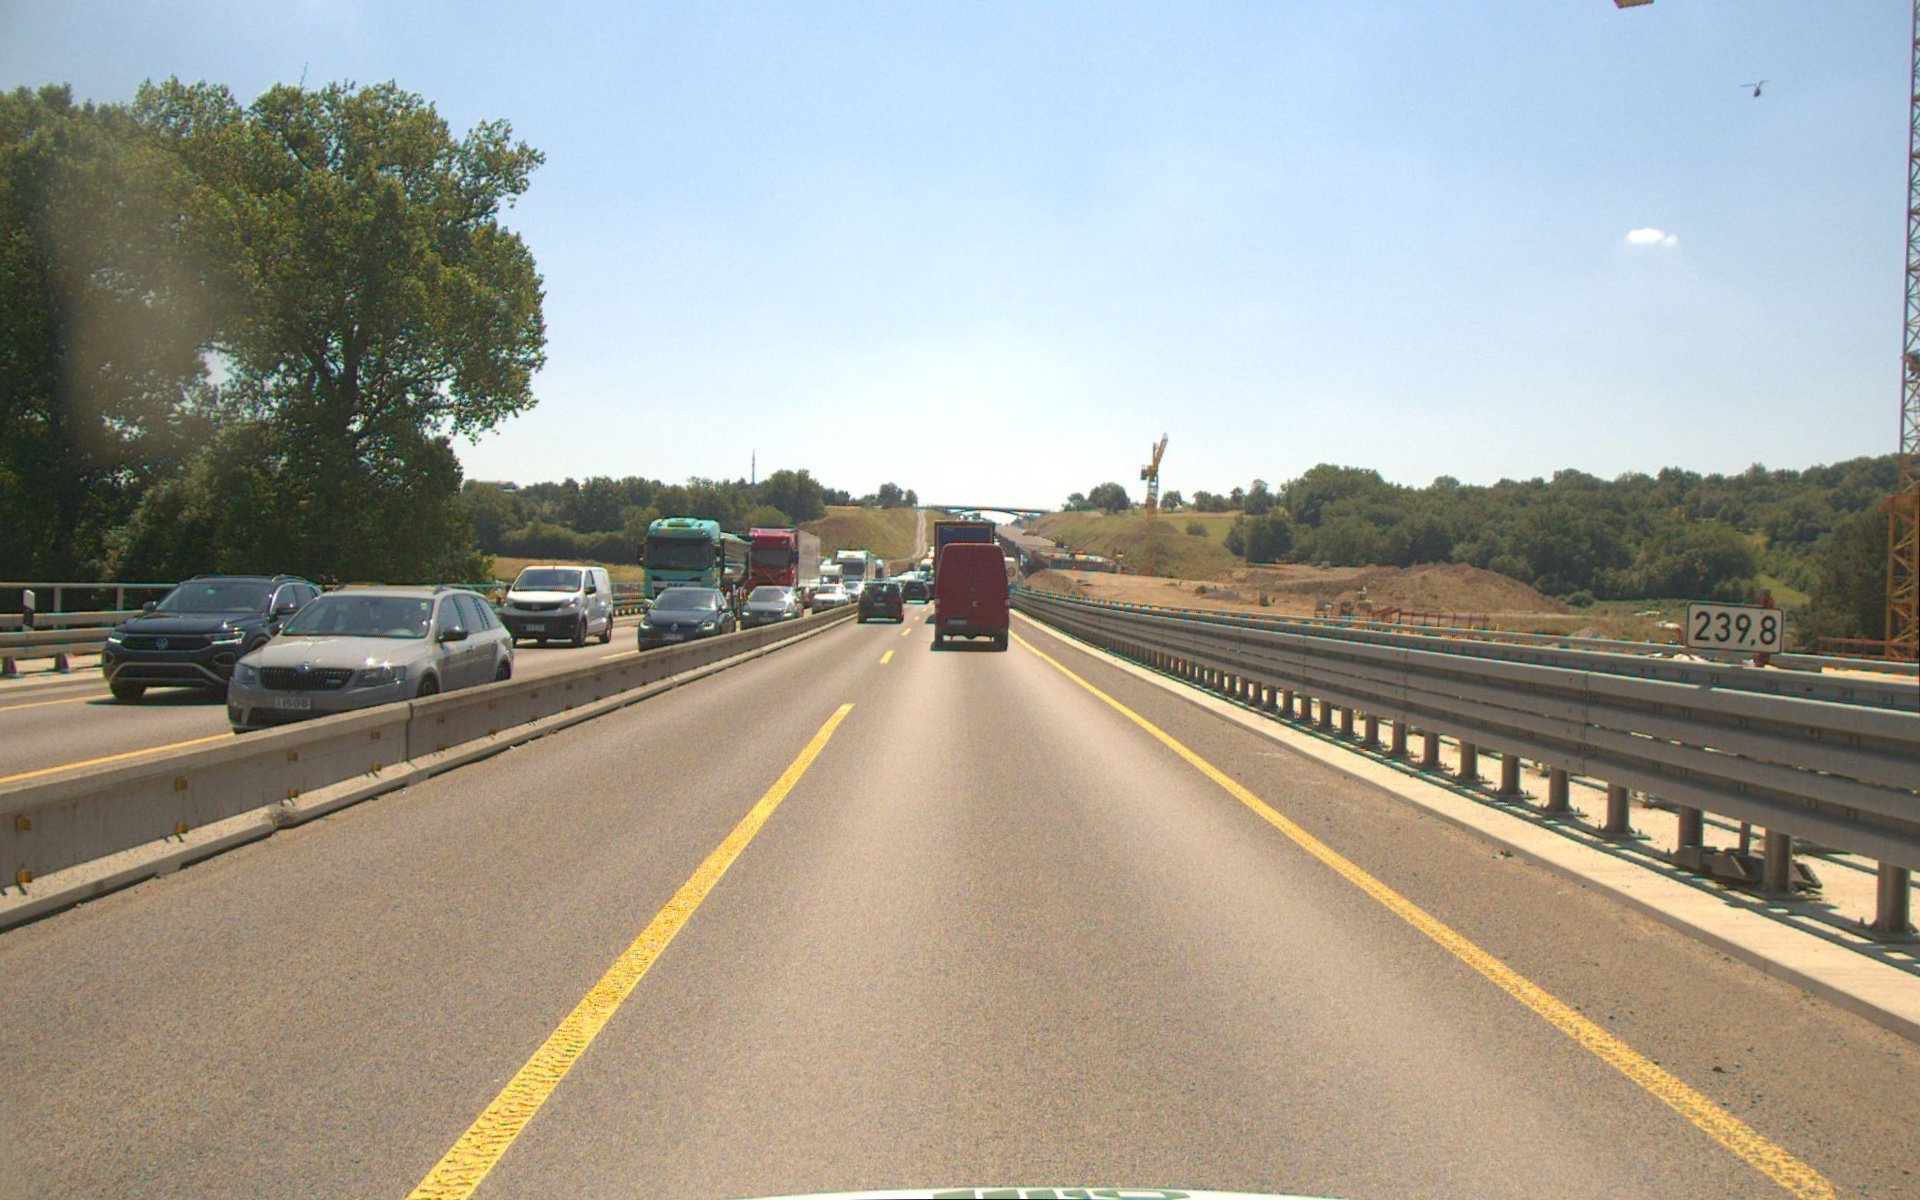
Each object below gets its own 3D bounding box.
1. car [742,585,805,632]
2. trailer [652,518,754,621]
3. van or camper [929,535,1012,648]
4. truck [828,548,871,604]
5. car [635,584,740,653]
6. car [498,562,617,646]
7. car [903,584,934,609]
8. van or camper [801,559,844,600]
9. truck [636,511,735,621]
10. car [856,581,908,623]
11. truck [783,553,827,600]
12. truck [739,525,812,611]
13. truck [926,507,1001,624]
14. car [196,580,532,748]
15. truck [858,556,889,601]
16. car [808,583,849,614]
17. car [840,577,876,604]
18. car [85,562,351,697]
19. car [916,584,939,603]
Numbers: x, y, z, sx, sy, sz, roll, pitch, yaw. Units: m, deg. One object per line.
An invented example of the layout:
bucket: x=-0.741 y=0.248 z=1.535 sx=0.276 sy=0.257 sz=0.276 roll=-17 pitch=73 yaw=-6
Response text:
car: x=-5.947 y=0.245 z=53.072 sx=1.597 sy=1.433 sz=4.103 roll=-1 pitch=1 yaw=-1
trailer: x=-9.965 y=-1.185 z=65.081 sx=2.737 sy=3.736 sz=8.955 roll=1 pitch=1 yaw=-1
van or camper: x=0.234 y=-0.240 z=43.975 sx=1.988 sy=2.792 sz=4.514 roll=1 pitch=1 yaw=-2
truck: x=-9.316 y=-2.037 z=140.041 sx=3.014 sy=4.616 sz=7.104 roll=1 pitch=1 yaw=1
car: x=-6.007 y=0.375 z=36.845 sx=1.644 sy=1.416 sz=4.155 roll=-1 pitch=1 yaw=0
car: x=-9.634 y=0.069 z=39.946 sx=1.821 sy=1.900 sz=4.628 roll=0 pitch=1 yaw=-1
car: x=-2.757 y=-0.253 z=111.466 sx=1.971 sy=1.572 sz=4.132 roll=2 pitch=1 yaw=-1
van or camper: x=-9.564 y=-1.443 z=115.725 sx=2.452 sy=2.745 sz=5.244 roll=1 pitch=1 yaw=1
truck: x=-9.851 y=-1.158 z=59.932 sx=2.740 sy=3.787 sz=5.373 roll=0 pitch=0 yaw=-1
car: x=-3.125 y=0.059 z=66.822 sx=1.971 sy=1.572 sz=4.131 roll=1 pitch=1 yaw=-1
truck: x=-13.268 y=-2.063 z=141.932 sx=2.845 sy=3.830 sz=8.368 roll=2 pitch=1 yaw=0
truck: x=-9.285 y=-1.623 z=84.014 sx=2.758 sy=4.107 sz=6.524 roll=1 pitch=1 yaw=1
truck: x=0.079 y=-1.457 z=71.611 sx=2.959 sy=4.775 sz=6.930 roll=-1 pitch=1 yaw=-2
car: x=-5.816 y=0.535 z=16.800 sx=1.789 sy=1.443 sz=4.656 roll=-1 pitch=1 yaw=-1
truck: x=-8.842 y=-2.180 z=169.221 sx=2.748 sy=4.469 sz=6.226 roll=1 pitch=1 yaw=1
car: x=-6.365 y=-0.102 z=80.424 sx=1.745 sy=1.404 sz=4.710 roll=-1 pitch=1 yaw=-2
car: x=-6.146 y=-0.573 z=99.887 sx=1.851 sy=1.513 sz=4.919 roll=-3 pitch=0 yaw=-1
car: x=-9.564 y=0.331 z=21.686 sx=1.777 sy=1.597 sz=3.999 roll=0 pitch=1 yaw=-2
car: x=-2.799 y=-0.579 z=143.308 sx=1.971 sy=1.572 sz=4.132 roll=2 pitch=1 yaw=-1
